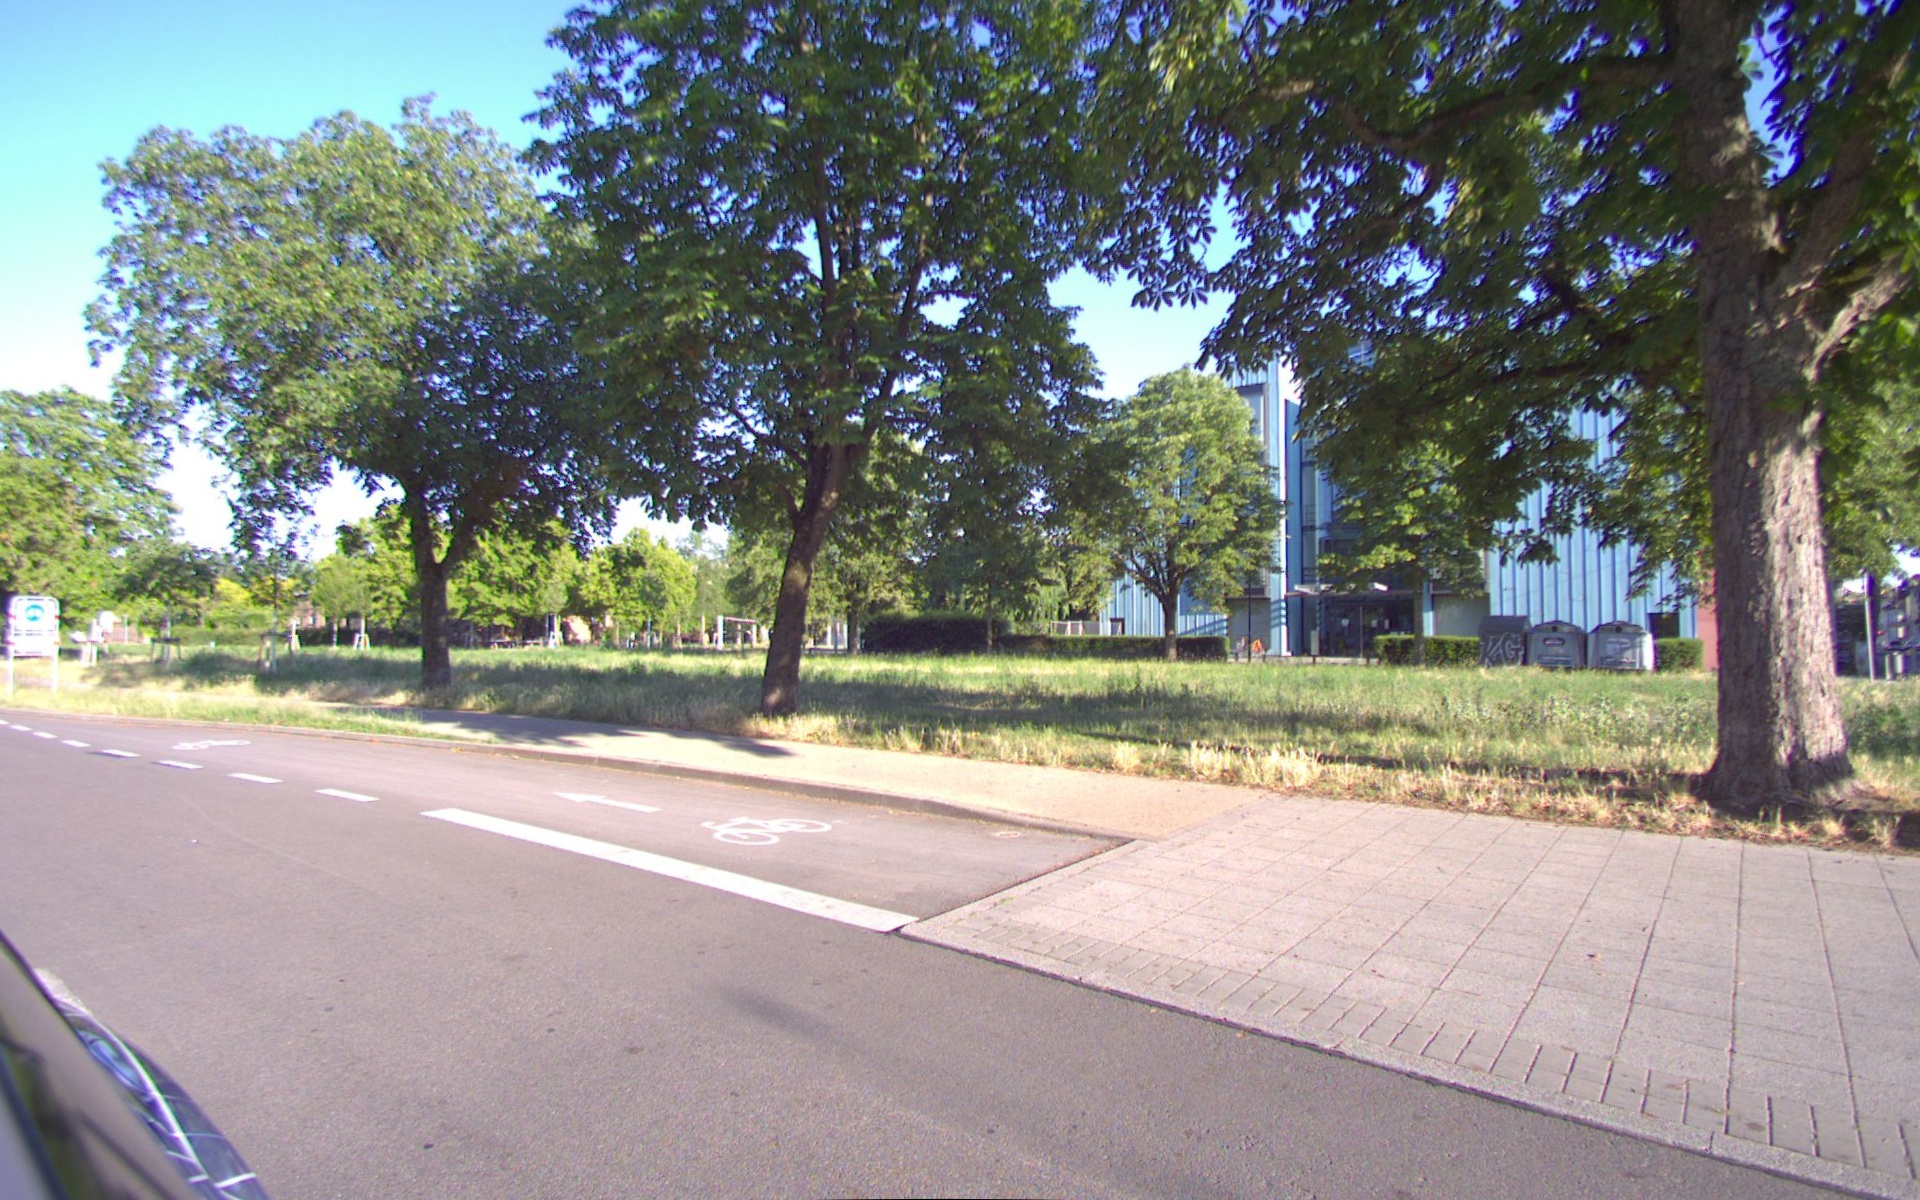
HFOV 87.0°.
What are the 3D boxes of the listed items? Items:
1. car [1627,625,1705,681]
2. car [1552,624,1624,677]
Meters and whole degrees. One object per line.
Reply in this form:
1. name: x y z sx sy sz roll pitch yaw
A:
1. car: 23.655 1.812 33.818 1.996 1.684 5.158 -1 -4 37
2. car: 21.838 1.711 35.123 1.962 1.684 5.164 -2 -3 33
